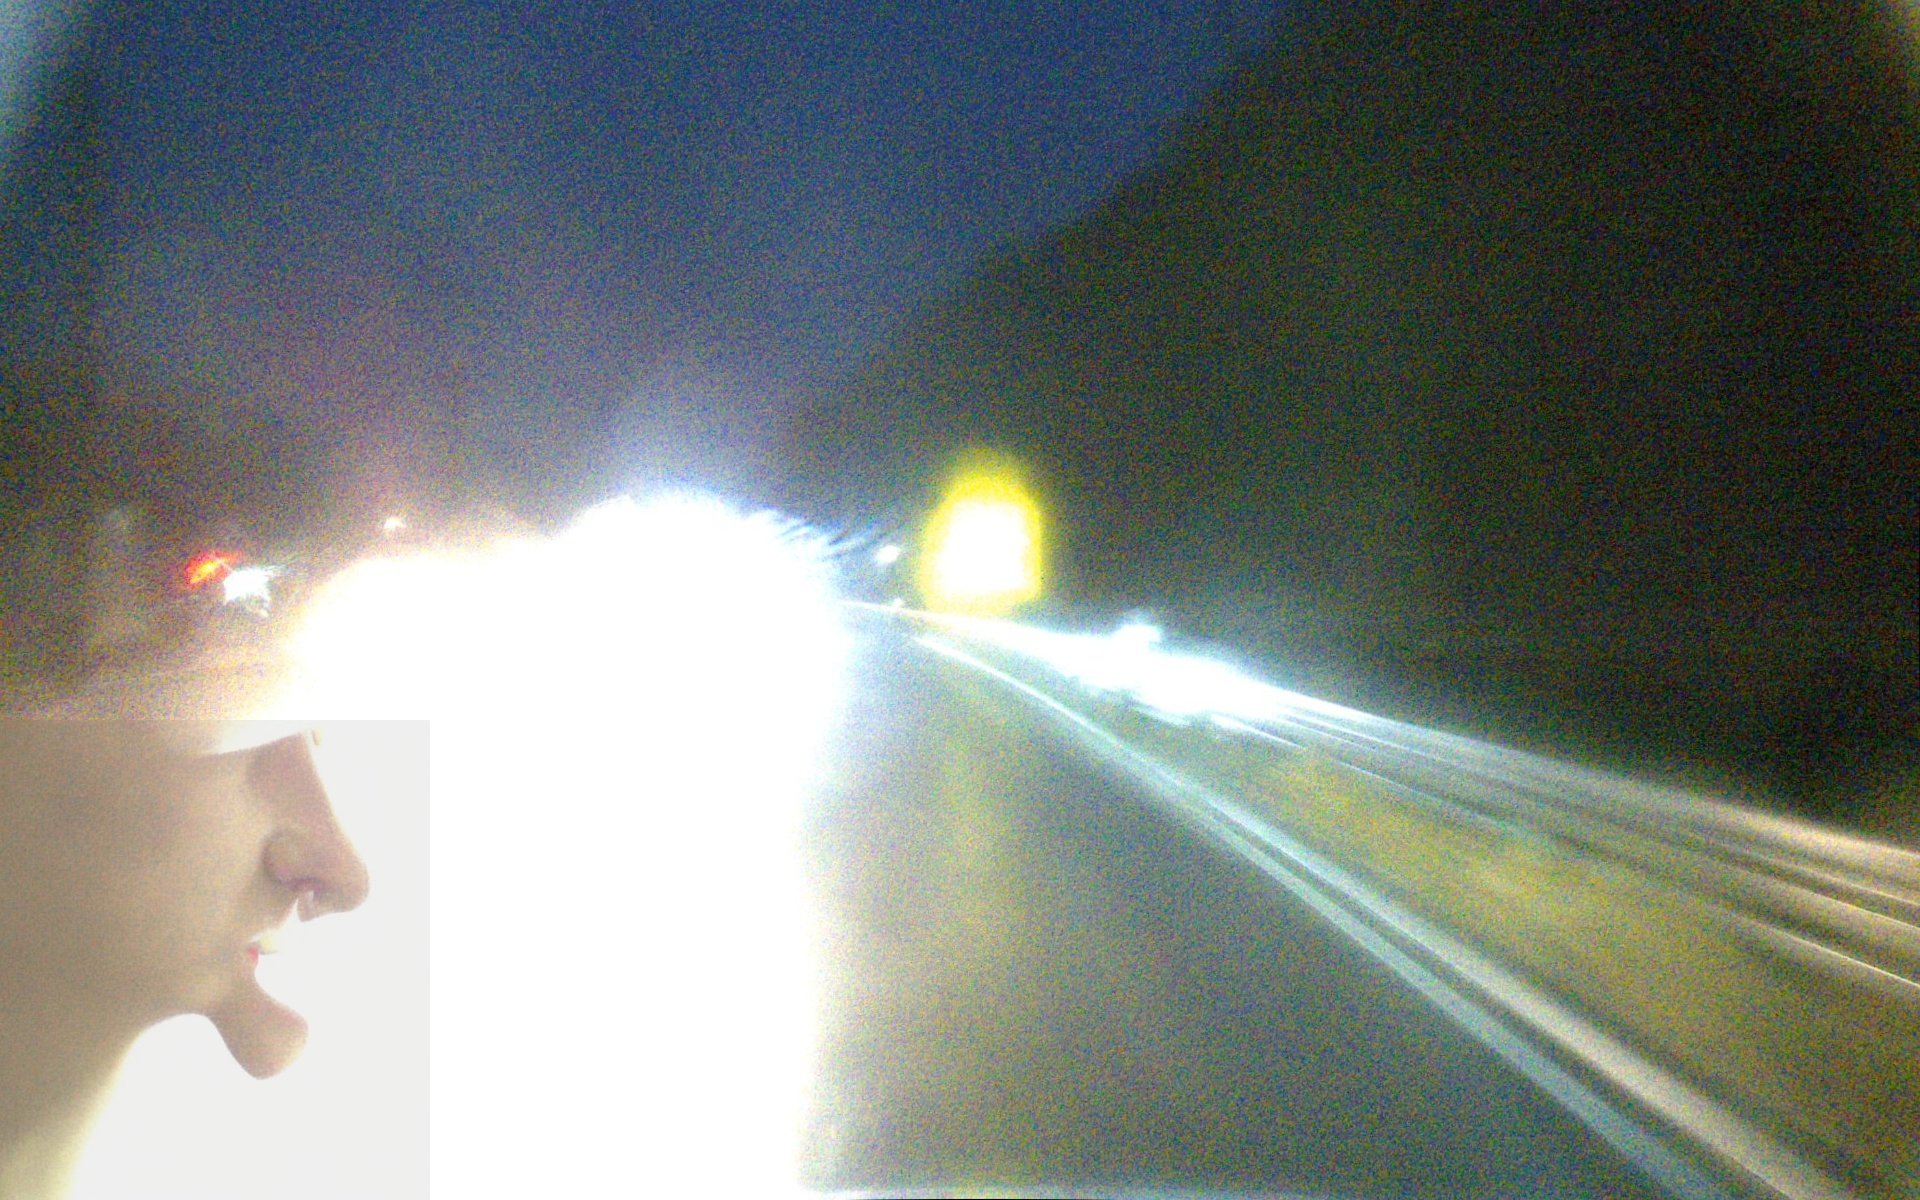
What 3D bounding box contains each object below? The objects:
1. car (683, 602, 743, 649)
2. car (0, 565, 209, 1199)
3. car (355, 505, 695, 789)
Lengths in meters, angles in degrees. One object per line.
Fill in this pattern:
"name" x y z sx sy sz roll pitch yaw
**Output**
"car" -9.119 0.917 61.347 1.955 1.641 4.606 0 0 -6
"car" -2.923 0.705 2.346 1.762 1.547 4.533 -1 0 -2
"car" -3.575 0.359 14.388 1.953 2.111 3.999 0 0 -1
